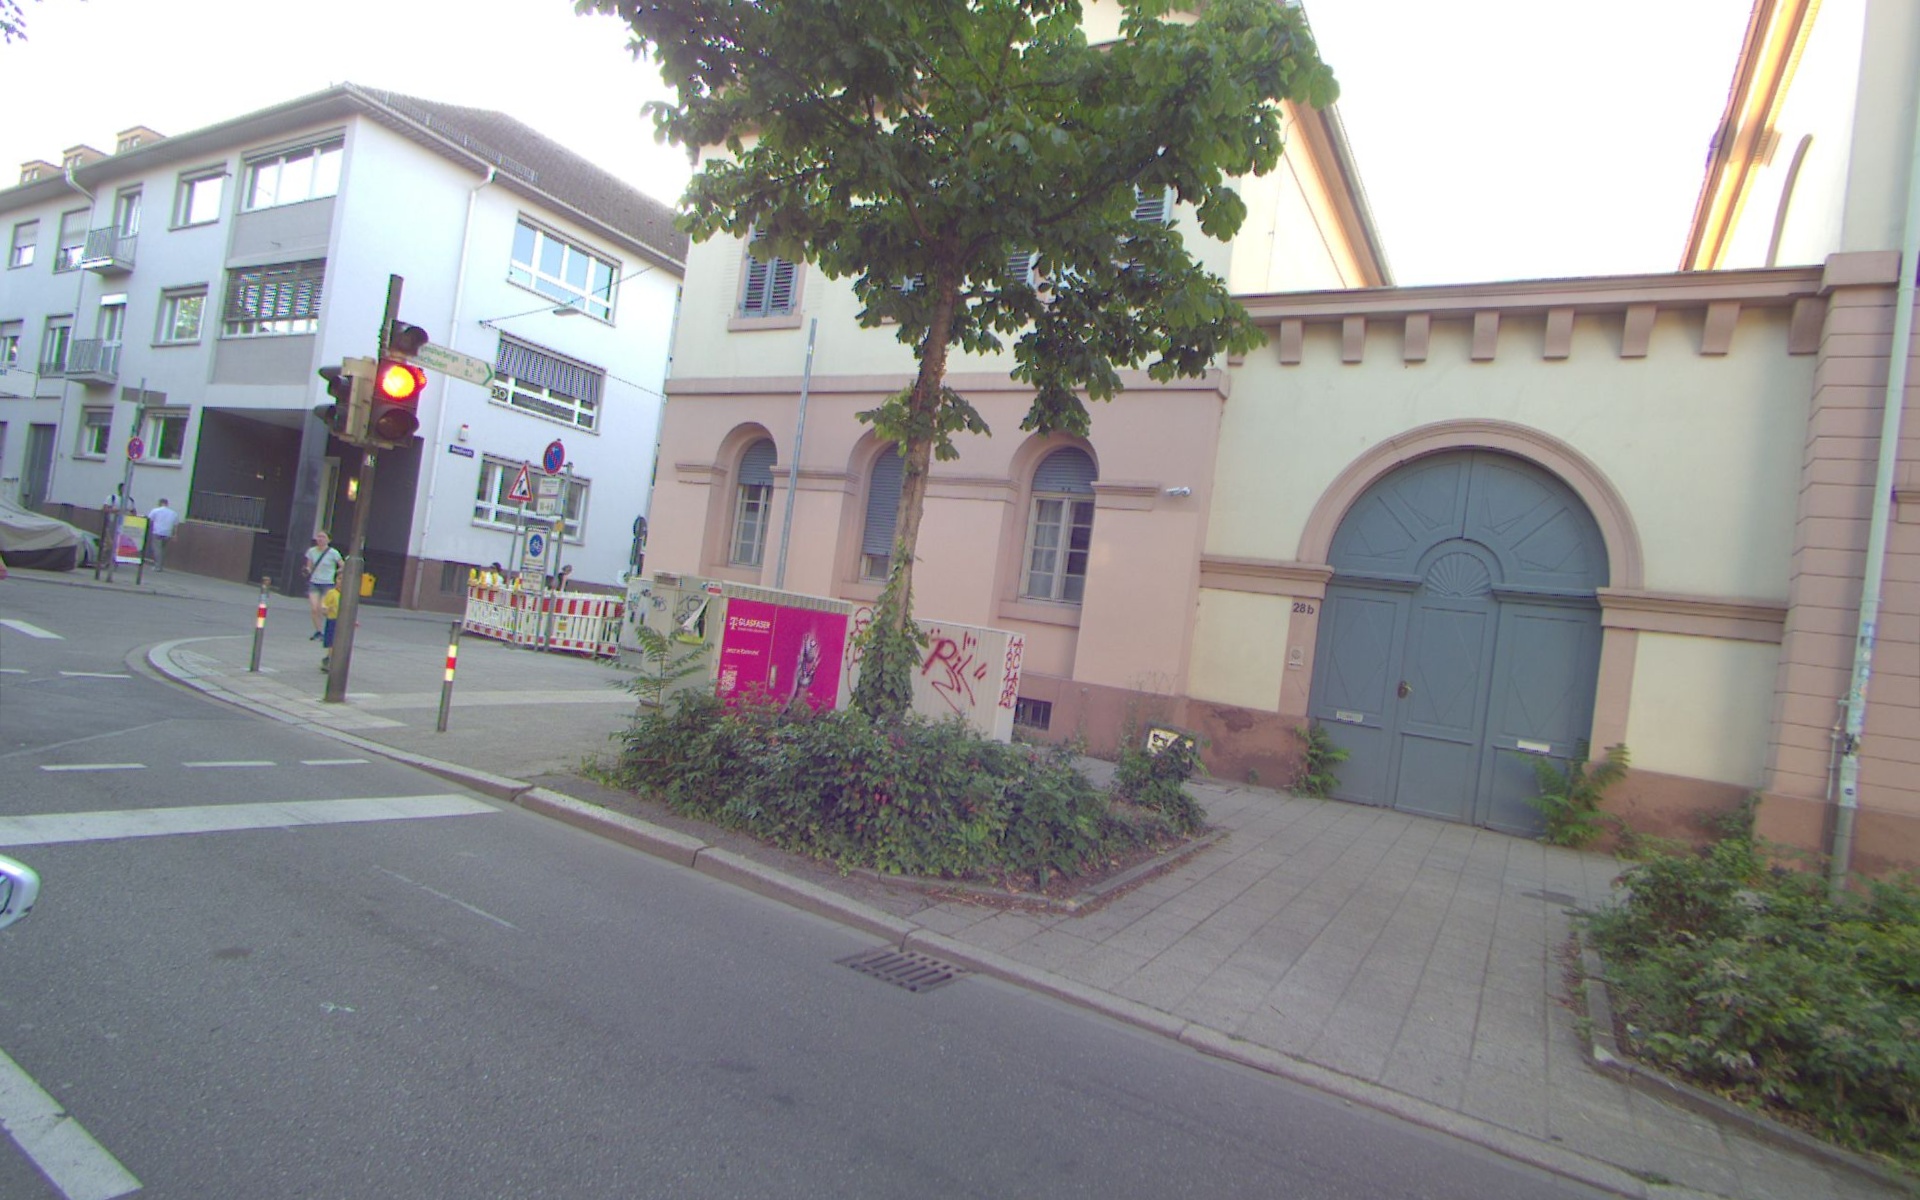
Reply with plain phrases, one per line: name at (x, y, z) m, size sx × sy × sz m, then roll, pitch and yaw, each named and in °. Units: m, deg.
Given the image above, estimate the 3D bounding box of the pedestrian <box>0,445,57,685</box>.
pedestrian at (-7.851, -0.331, 7.835) m, size 0.781 × 1.836 × 0.889 m, roll 8°, pitch -1°, yaw 36°

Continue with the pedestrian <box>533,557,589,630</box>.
pedestrian at (-10.615, -0.172, 26.783) m, size 0.918 × 1.772 × 0.770 m, roll 8°, pitch -1°, yaw 32°

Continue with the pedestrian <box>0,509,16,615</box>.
pedestrian at (-8.114, -0.103, 8.092) m, size 0.498 × 1.351 × 0.540 m, roll 8°, pitch -1°, yaw 37°

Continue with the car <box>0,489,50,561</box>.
car at (-22.297, -1.887, 21.352) m, size 1.678 × 1.459 × 4.022 m, roll 7°, pitch -2°, yaw 31°

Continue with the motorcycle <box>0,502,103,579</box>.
motorcycle at (-17.268, -1.130, 18.763) m, size 0.604 × 1.213 × 1.799 m, roll 7°, pitch -1°, yaw 40°

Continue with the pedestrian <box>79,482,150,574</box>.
pedestrian at (-18.812, -1.600, 22.380) m, size 0.928 × 1.862 × 0.768 m, roll 8°, pitch -1°, yaw 32°

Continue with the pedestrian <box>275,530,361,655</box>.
pedestrian at (-8.797, -0.110, 13.834) m, size 0.693 × 1.575 × 0.974 m, roll 9°, pitch -1°, yaw -26°

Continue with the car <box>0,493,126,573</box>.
car at (-19.851, -1.532, 20.476) m, size 1.679 × 1.358 × 4.021 m, roll 7°, pitch -2°, yaw 32°

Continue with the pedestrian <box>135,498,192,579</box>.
pedestrian at (-18.816, -1.455, 23.761) m, size 0.688 × 1.772 × 0.704 m, roll 8°, pitch -1°, yaw 36°

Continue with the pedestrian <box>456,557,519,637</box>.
pedestrian at (-9.601, -0.055, 20.477) m, size 0.762 × 1.519 × 0.801 m, roll 7°, pitch 0°, yaw -3°

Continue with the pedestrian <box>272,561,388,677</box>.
pedestrian at (-6.844, 0.217, 10.969) m, size 0.557 × 1.134 × 0.838 m, roll 8°, pitch -1°, yaw 2°
